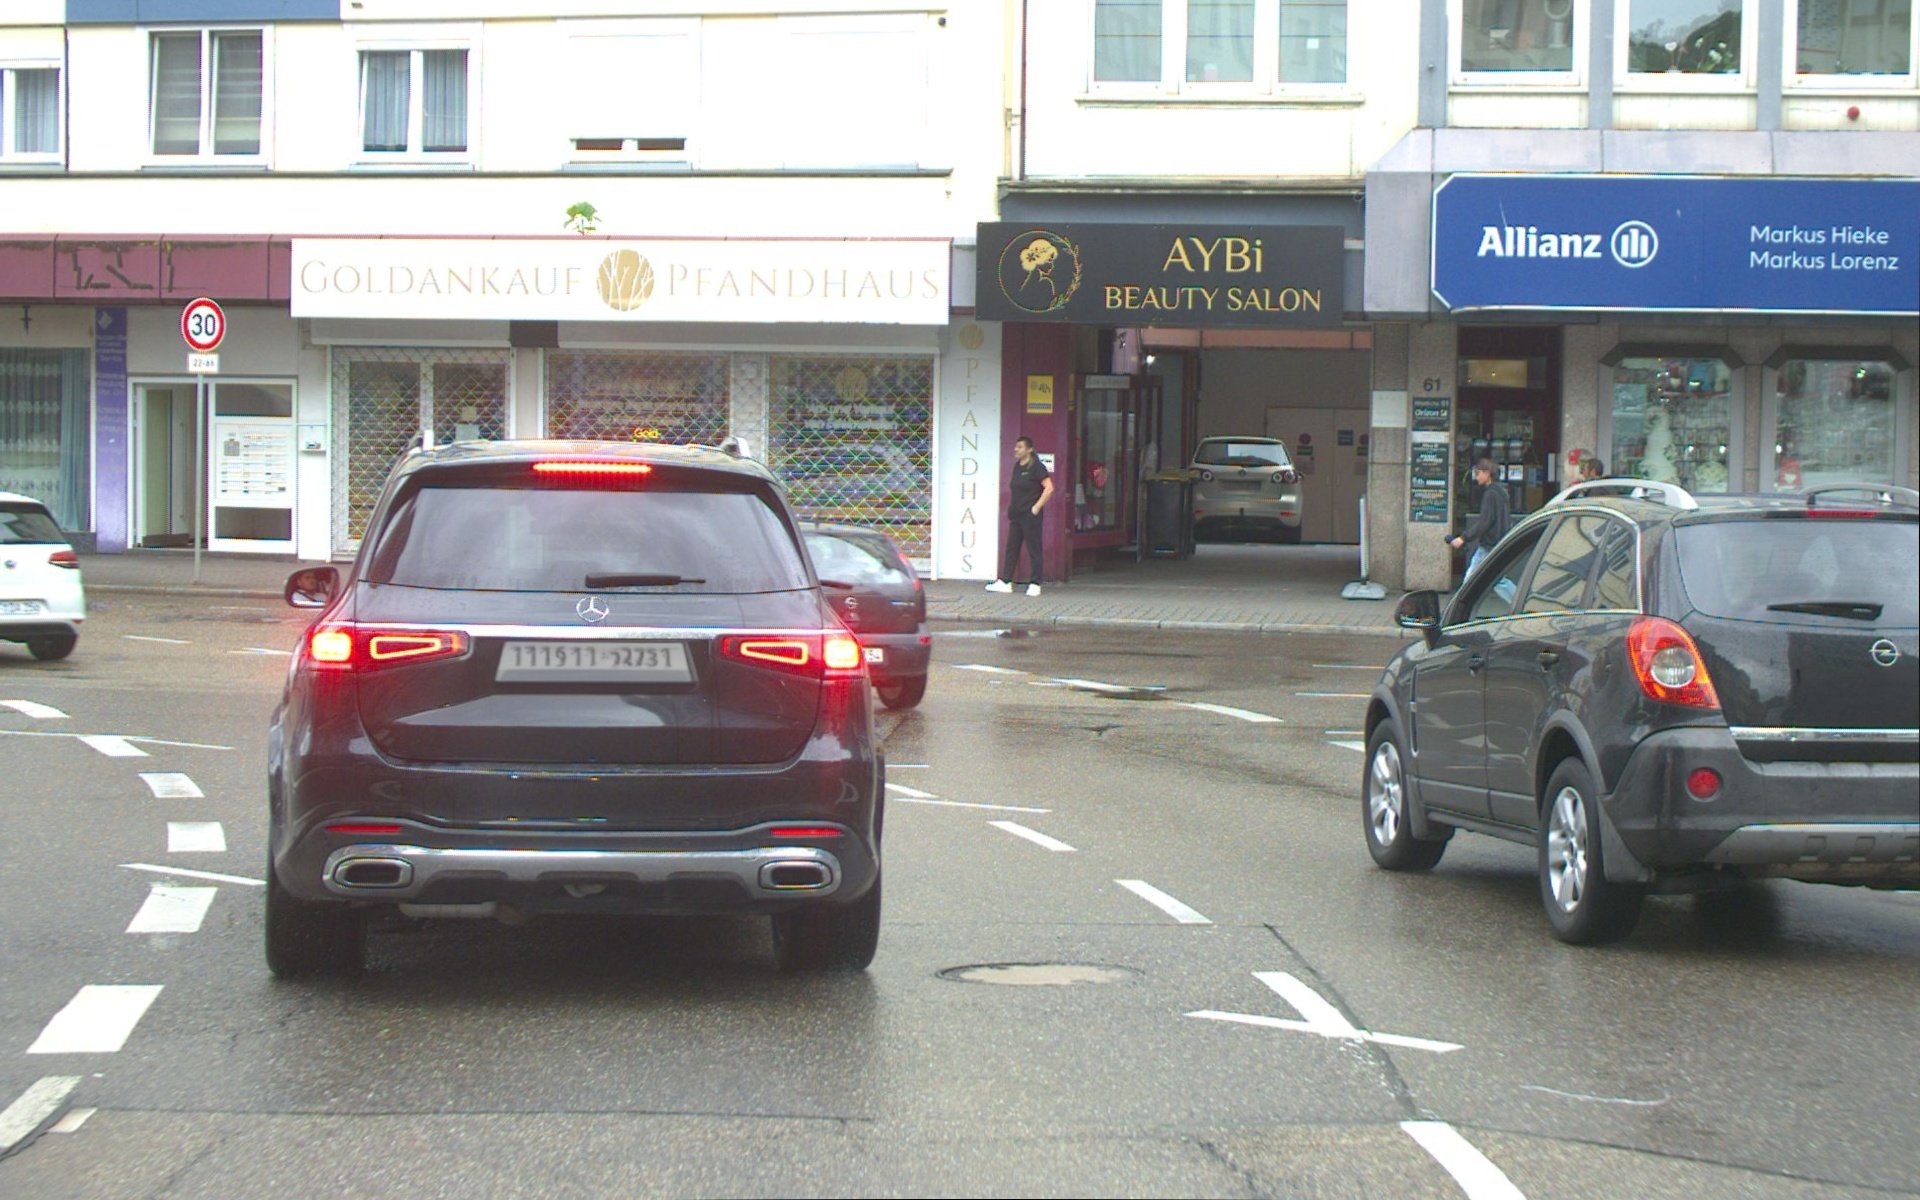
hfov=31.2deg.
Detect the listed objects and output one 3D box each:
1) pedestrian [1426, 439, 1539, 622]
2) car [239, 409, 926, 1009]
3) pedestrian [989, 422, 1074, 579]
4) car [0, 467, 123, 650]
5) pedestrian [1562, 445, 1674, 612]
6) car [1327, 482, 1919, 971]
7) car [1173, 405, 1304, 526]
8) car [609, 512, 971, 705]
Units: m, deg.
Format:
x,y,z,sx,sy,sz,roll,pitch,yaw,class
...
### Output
x,y,z,sx,sy,sz,roll,pitch,yaw,class
5.400,-0.727,35.579,1.030,1.793,0.830,1,7,4,pedestrian
-1.418,0.294,12.762,2.038,1.793,4.664,1,1,-7,car
0.795,-1.118,38.313,0.753,1.683,0.566,-3,8,-25,pedestrian
-9.214,-0.425,29.698,1.874,1.489,4.398,1,1,-43,car
7.018,-0.770,36.714,1.030,1.683,0.830,1,7,4,pedestrian
2.971,0.375,14.206,1.897,1.689,4.507,1,2,-7,car
4.000,-1.915,49.880,1.797,1.664,4.000,1,1,3,car
-1.417,0.018,26.965,1.766,1.392,4.001,0,1,-19,car
